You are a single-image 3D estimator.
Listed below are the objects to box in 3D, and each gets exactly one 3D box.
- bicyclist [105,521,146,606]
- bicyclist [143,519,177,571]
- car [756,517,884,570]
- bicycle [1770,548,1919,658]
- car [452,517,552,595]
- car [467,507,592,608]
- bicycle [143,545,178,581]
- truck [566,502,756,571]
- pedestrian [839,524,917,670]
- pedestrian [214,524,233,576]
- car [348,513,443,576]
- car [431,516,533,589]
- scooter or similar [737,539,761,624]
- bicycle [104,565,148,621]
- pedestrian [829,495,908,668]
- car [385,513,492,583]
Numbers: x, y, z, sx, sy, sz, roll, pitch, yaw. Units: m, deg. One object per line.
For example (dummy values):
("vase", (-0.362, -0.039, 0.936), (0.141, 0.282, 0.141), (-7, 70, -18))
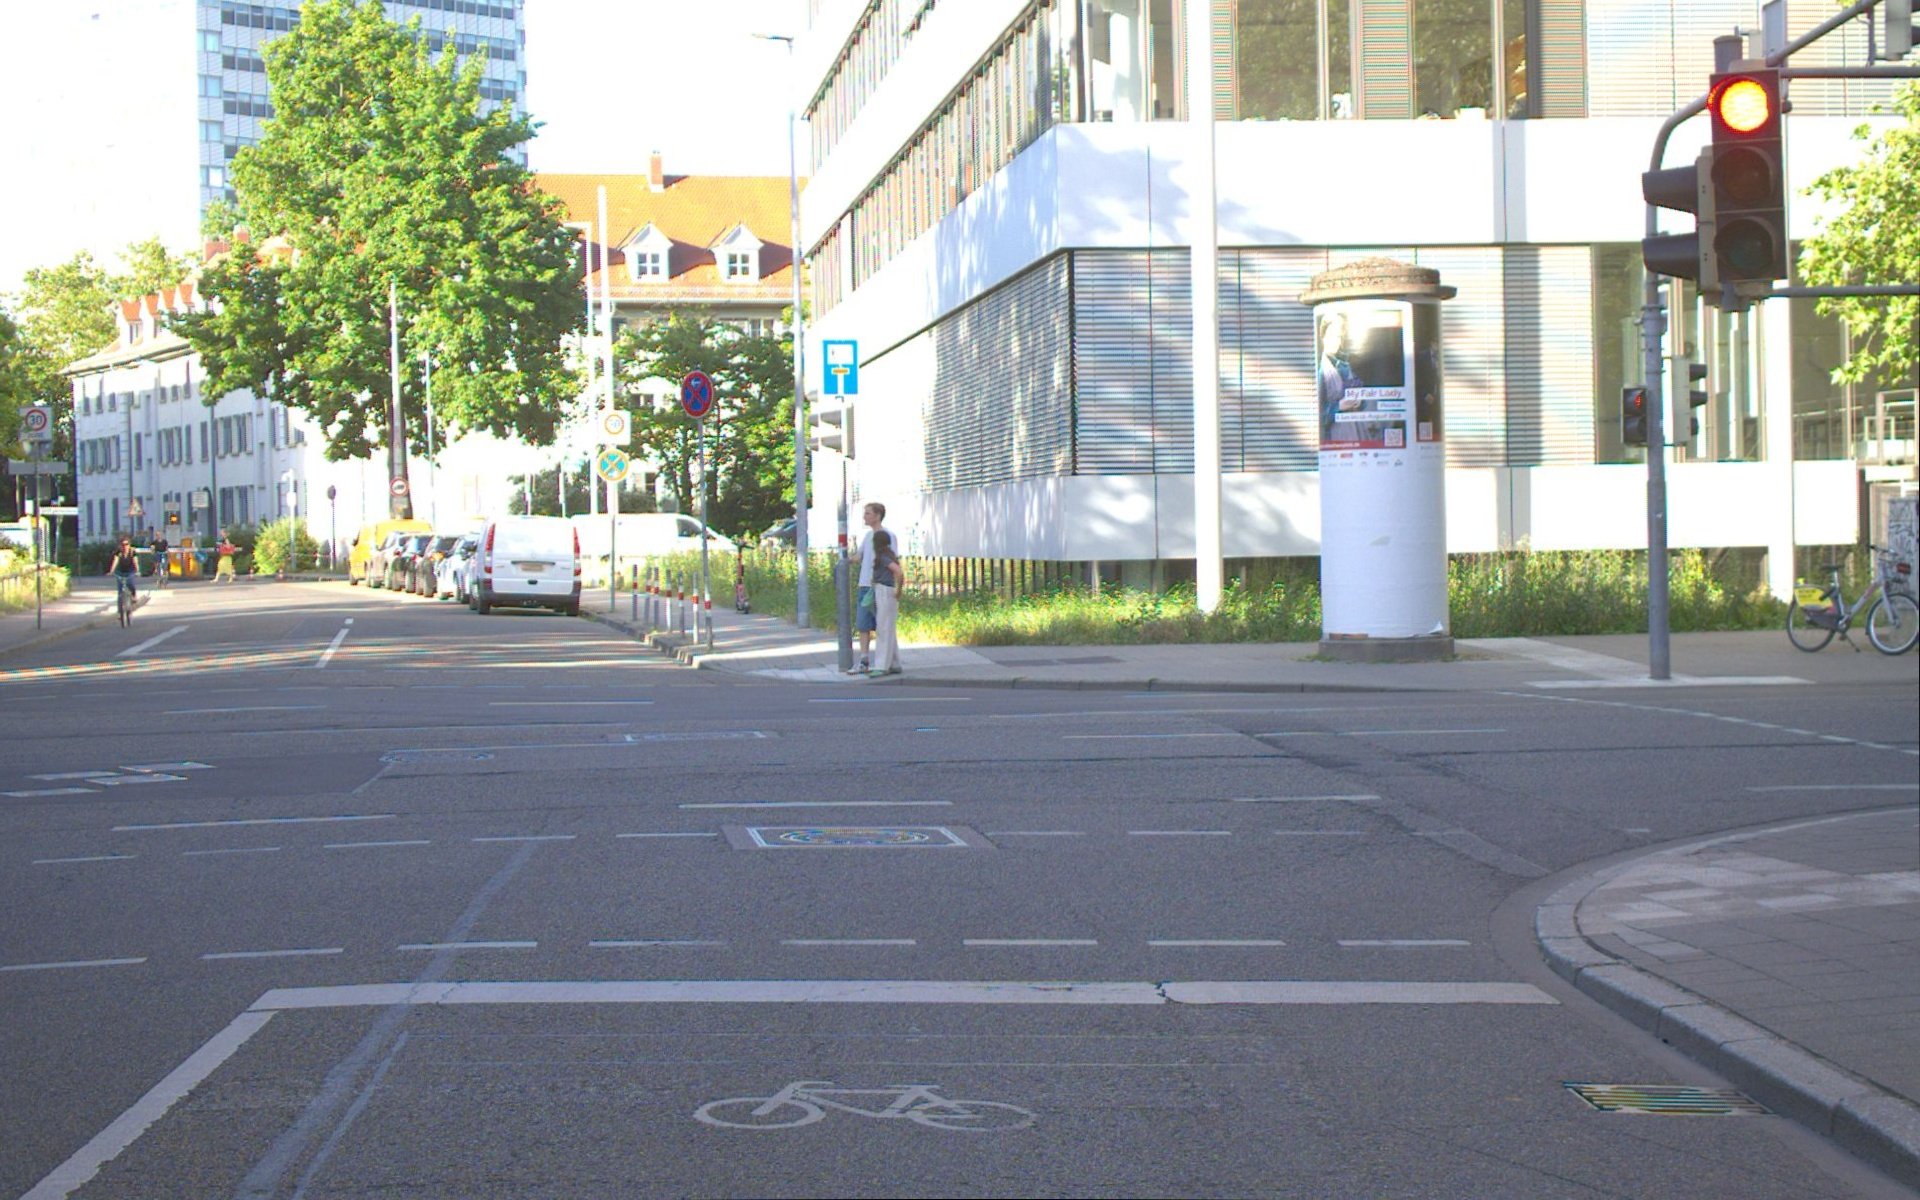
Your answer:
("bicyclist", (-15.339, -0.679, 63.215), (0.615, 1.527, 0.903), (-2, 1, -9))
("bicyclist", (-23.943, -1.650, 102.873), (0.865, 1.510, 1.019), (-4, 1, -11))
("car", (-4.250, -1.721, 104.243), (3.554, 1.541, 1.559), (-1, 1, -19))
("bicycle", (9.311, 0.017, 36.042), (0.507, 1.045, 1.687), (-4, 5, -35))
("car", (-9.746, -0.960, 72.948), (1.888, 1.550, 4.417), (-1, 2, -10))
("car", (-8.136, -0.833, 64.678), (2.084, 1.789, 4.417), (-1, 2, -10))
("bicycle", (-23.918, -1.104, 102.868), (0.865, 1.006, 2.415), (-4, 1, -11))
("truck", (-8.966, -1.904, 103.055), (5.336, 2.007, 2.001), (-1, 1, -19))
("pedestrian", (-0.888, -0.038, 37.209), (0.559, 1.535, 0.677), (-5, 2, -18))
("pedestrian", (-22.919, -1.544, 106.940), (0.433, 1.602, 0.493), (-2, 1, -26))
("car", (-15.698, -1.562, 95.501), (1.888, 1.650, 4.417), (-1, 2, -19))
("car", (-10.919, -1.105, 78.318), (1.888, 1.550, 4.417), (-1, 2, -13))
("scooter or similar", (-3.590, -0.321, 58.576), (0.330, 1.419, 1.335), (1, 0, -6))
("bicycle", (-15.327, -0.137, 63.213), (0.615, 0.966, 1.842), (-2, 1, -9))
("pedestrian", (-1.004, -0.209, 37.812), (0.560, 1.844, 0.677), (-3, 2, 16))
("car", (-13.003, -1.321, 85.566), (1.888, 1.650, 4.417), (-1, 2, -19))
